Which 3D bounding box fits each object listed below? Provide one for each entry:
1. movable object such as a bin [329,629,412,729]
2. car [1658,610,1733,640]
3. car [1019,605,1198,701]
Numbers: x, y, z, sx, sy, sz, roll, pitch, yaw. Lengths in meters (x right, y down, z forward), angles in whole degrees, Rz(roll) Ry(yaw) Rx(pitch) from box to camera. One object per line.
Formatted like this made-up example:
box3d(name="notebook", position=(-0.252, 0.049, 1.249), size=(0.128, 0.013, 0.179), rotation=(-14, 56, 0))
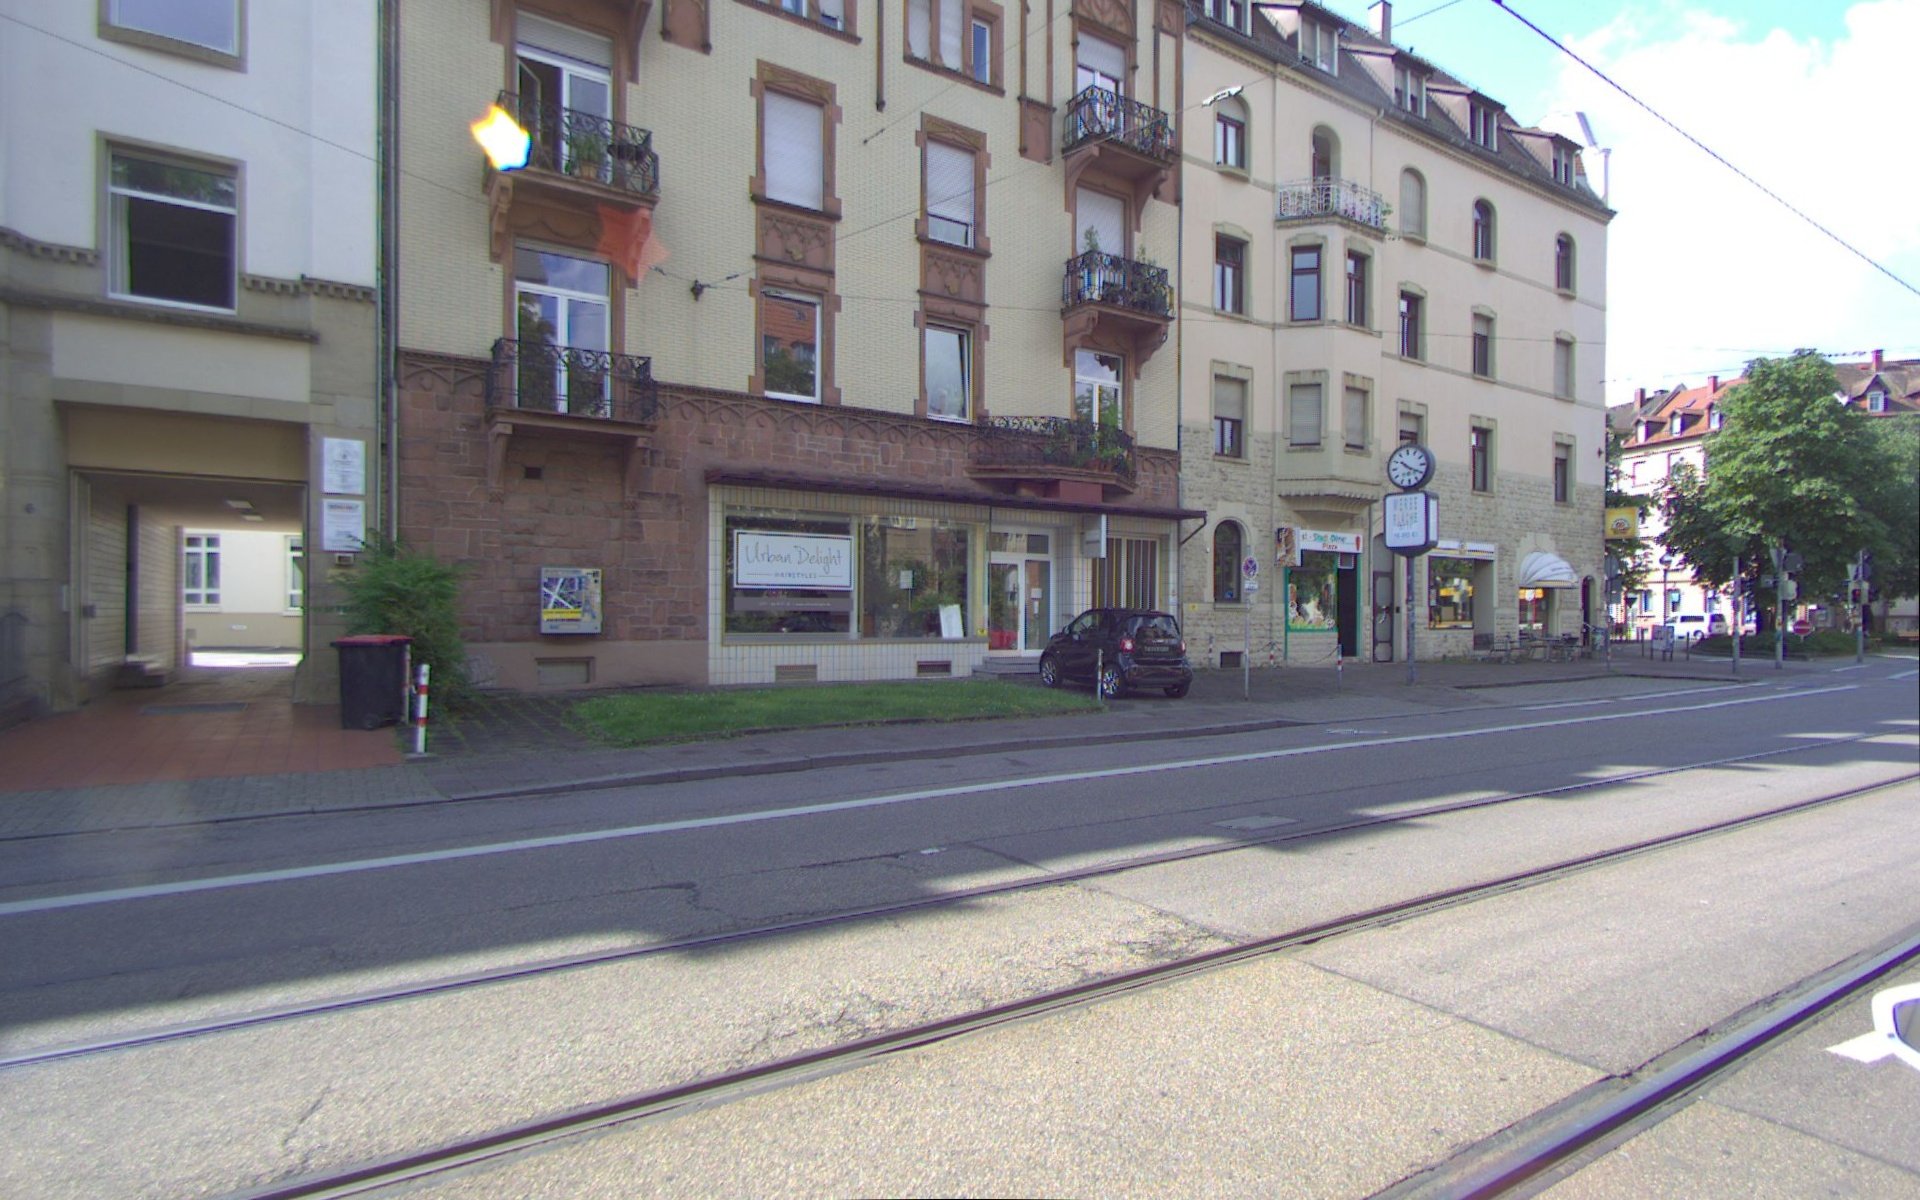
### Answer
box3d(name="movable object such as a bin", position=(-6.879, 0.907, 11.735), size=(0.595, 1.084, 0.597), rotation=(2, 2, 1))
box3d(name="car", position=(55.955, 1.920, 76.490), size=(1.971, 2.039, 4.113), rotation=(0, -4, -23))
box3d(name="car", position=(2.661, 0.905, 18.588), size=(1.658, 1.533, 3.222), rotation=(1, 1, -29))
